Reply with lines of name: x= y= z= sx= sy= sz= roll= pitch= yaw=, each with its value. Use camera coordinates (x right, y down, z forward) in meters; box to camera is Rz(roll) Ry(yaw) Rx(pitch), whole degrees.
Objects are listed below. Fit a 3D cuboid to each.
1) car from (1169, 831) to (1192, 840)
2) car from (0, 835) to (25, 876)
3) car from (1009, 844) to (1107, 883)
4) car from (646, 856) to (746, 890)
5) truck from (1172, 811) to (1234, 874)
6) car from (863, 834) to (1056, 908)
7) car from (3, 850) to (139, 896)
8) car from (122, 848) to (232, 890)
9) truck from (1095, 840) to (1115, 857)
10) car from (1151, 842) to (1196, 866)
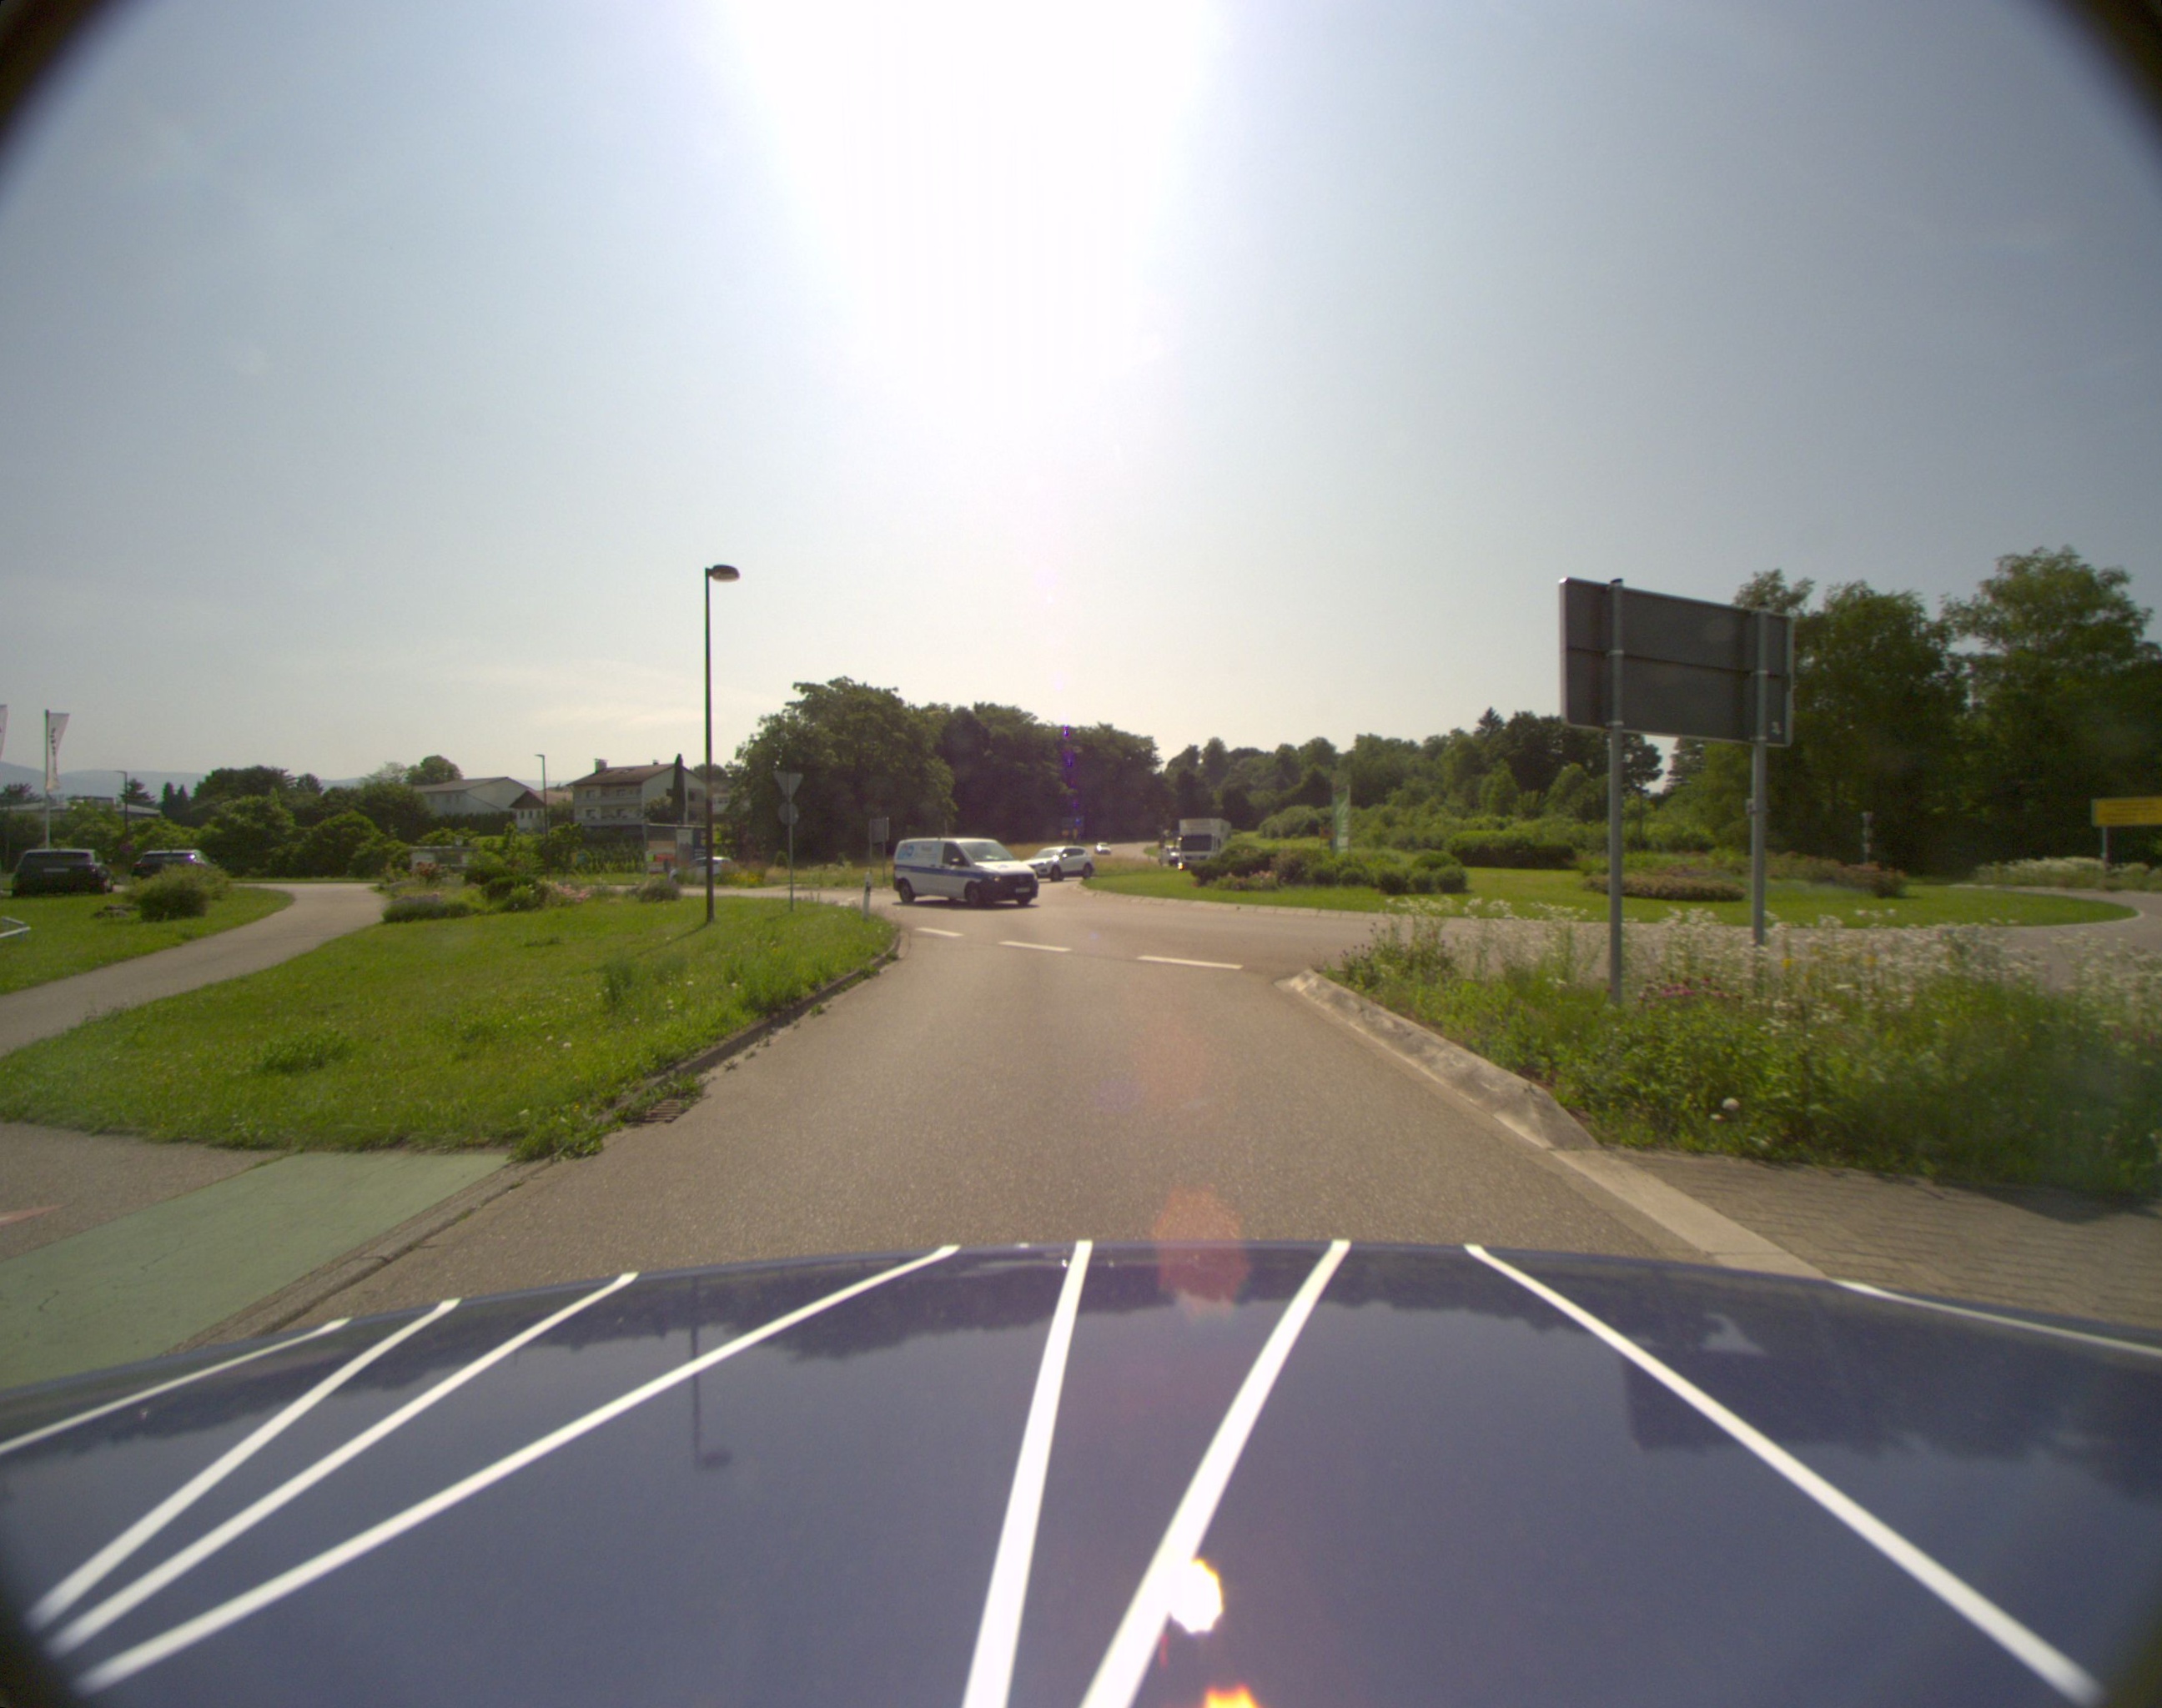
car: x=18.396 y=-3.428 z=140.926 sx=4.222 sy=1.521 sz=1.753 roll=2 pitch=0 yaw=-39
car: x=-40.768 y=0.058 z=27.466 sx=1.913 sy=1.504 sz=4.363 roll=0 pitch=1 yaw=-39
car: x=-1.027 y=0.407 z=36.753 sx=2.192 sy=1.643 sz=5.130 roll=-1 pitch=1 yaw=32
car: x=-20.556 y=1.006 z=40.677 sx=4.194 sy=1.606 sz=2.130 roll=-3 pitch=-1 yaw=7
truck: x=8.431 y=-0.822 z=51.347 sx=2.894 sy=3.807 sz=9.032 roll=-1 pitch=2 yaw=17
car: x=-3.495 y=0.469 z=21.745 sx=5.217 sy=1.927 sz=1.863 roll=-1 pitch=2 yaw=24
car: x=-36.021 y=0.599 z=27.260 sx=1.913 sy=1.504 sz=4.363 roll=0 pitch=1 yaw=-39
car: x=-34.663 y=0.521 z=29.272 sx=1.913 sy=1.504 sz=4.363 roll=0 pitch=1 yaw=-39
truck: x=3.183 y=-0.754 z=100.113 sx=2.360 sy=2.002 sz=5.441 roll=-2 pitch=1 yaw=5
car: x=8.556 y=-0.034 z=70.779 sx=2.001 sy=2.002 sz=5.593 roll=-2 pitch=2 yaw=-18
